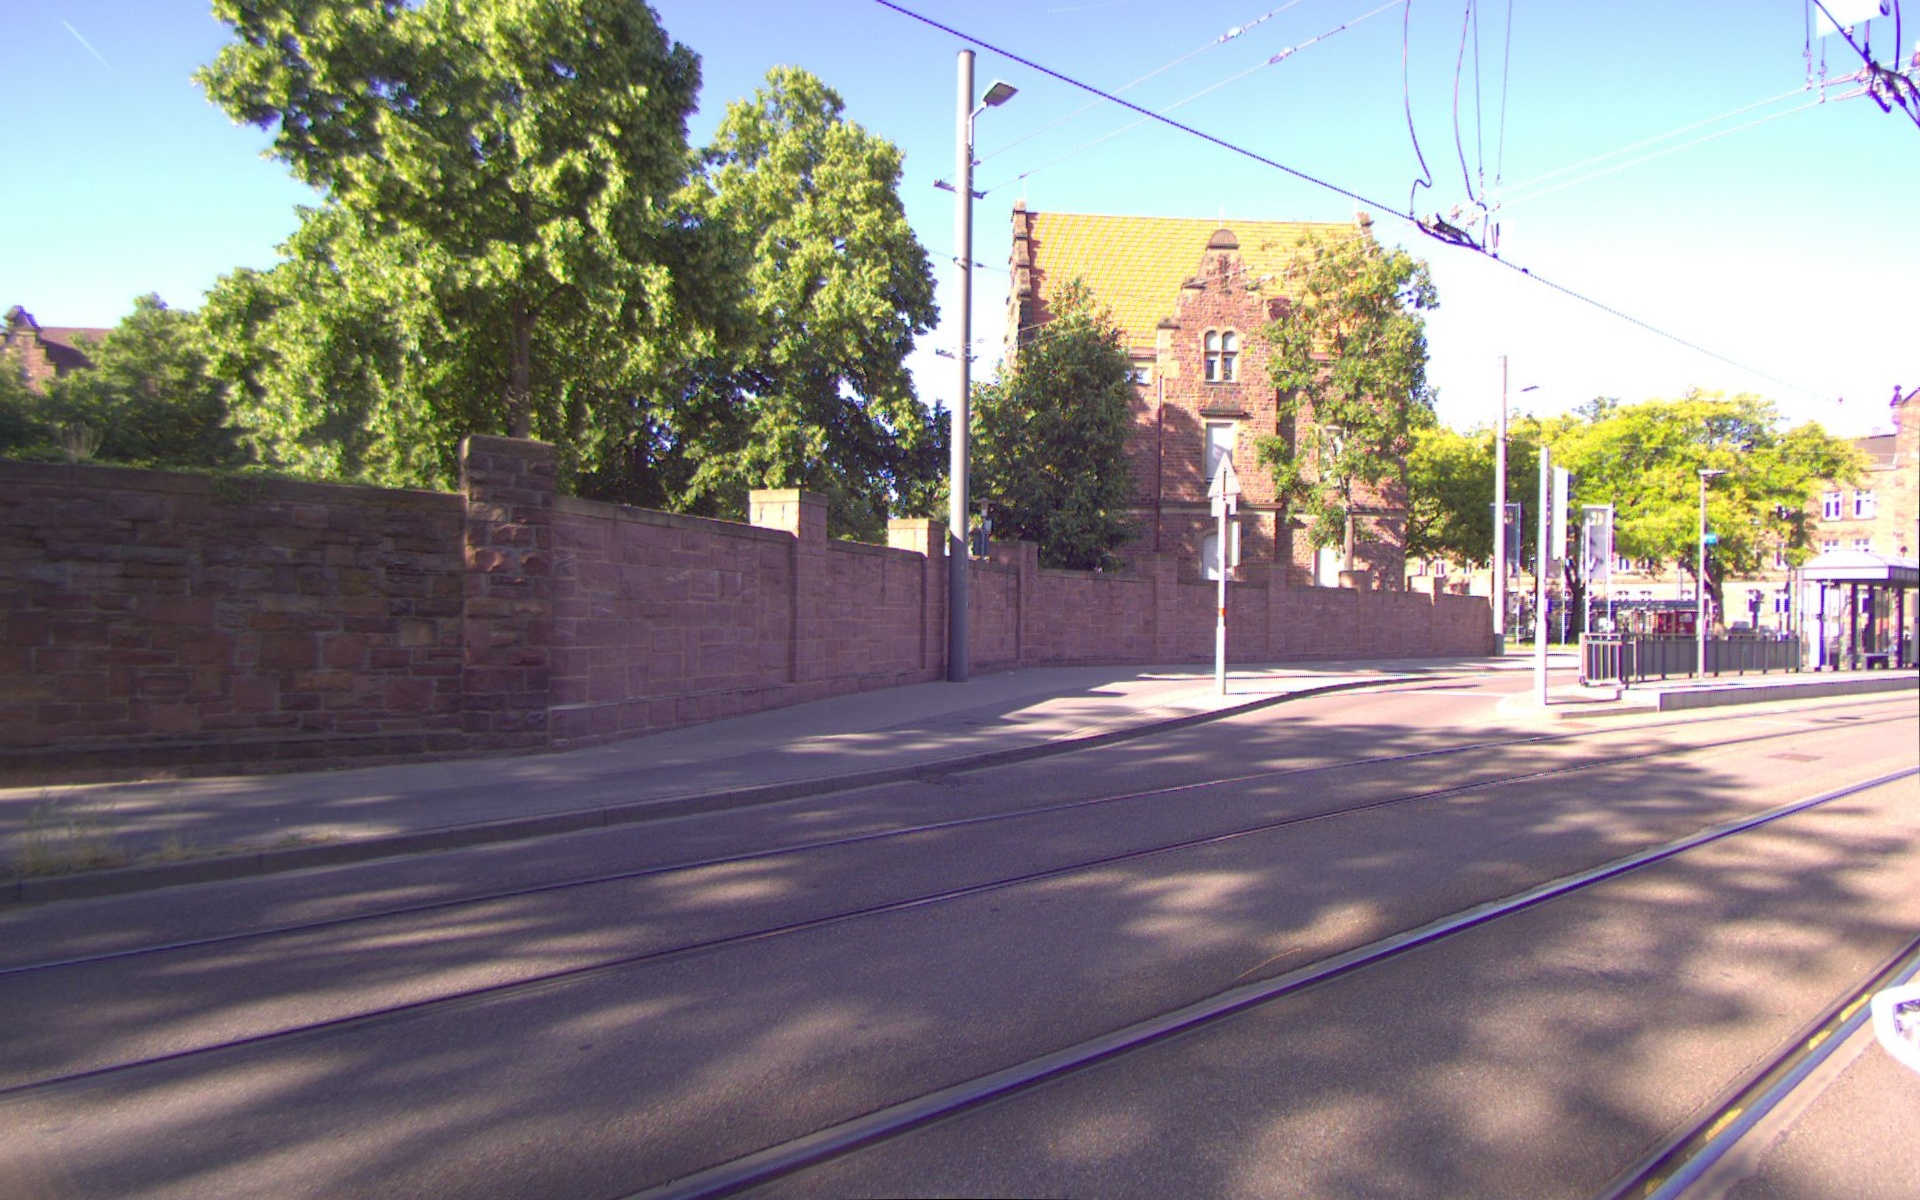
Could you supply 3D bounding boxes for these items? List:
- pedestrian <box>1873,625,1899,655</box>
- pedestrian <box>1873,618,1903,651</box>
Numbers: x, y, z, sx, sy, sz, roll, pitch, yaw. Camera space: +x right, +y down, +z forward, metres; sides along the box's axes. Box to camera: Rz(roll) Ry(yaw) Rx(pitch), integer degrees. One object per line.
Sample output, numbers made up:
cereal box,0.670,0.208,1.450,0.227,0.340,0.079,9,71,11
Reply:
pedestrian,51.060,2.177,55.374,0.924,1.609,0.798,2,0,-32
pedestrian,49.912,1.866,54.032,1.017,1.706,0.891,2,0,-30
